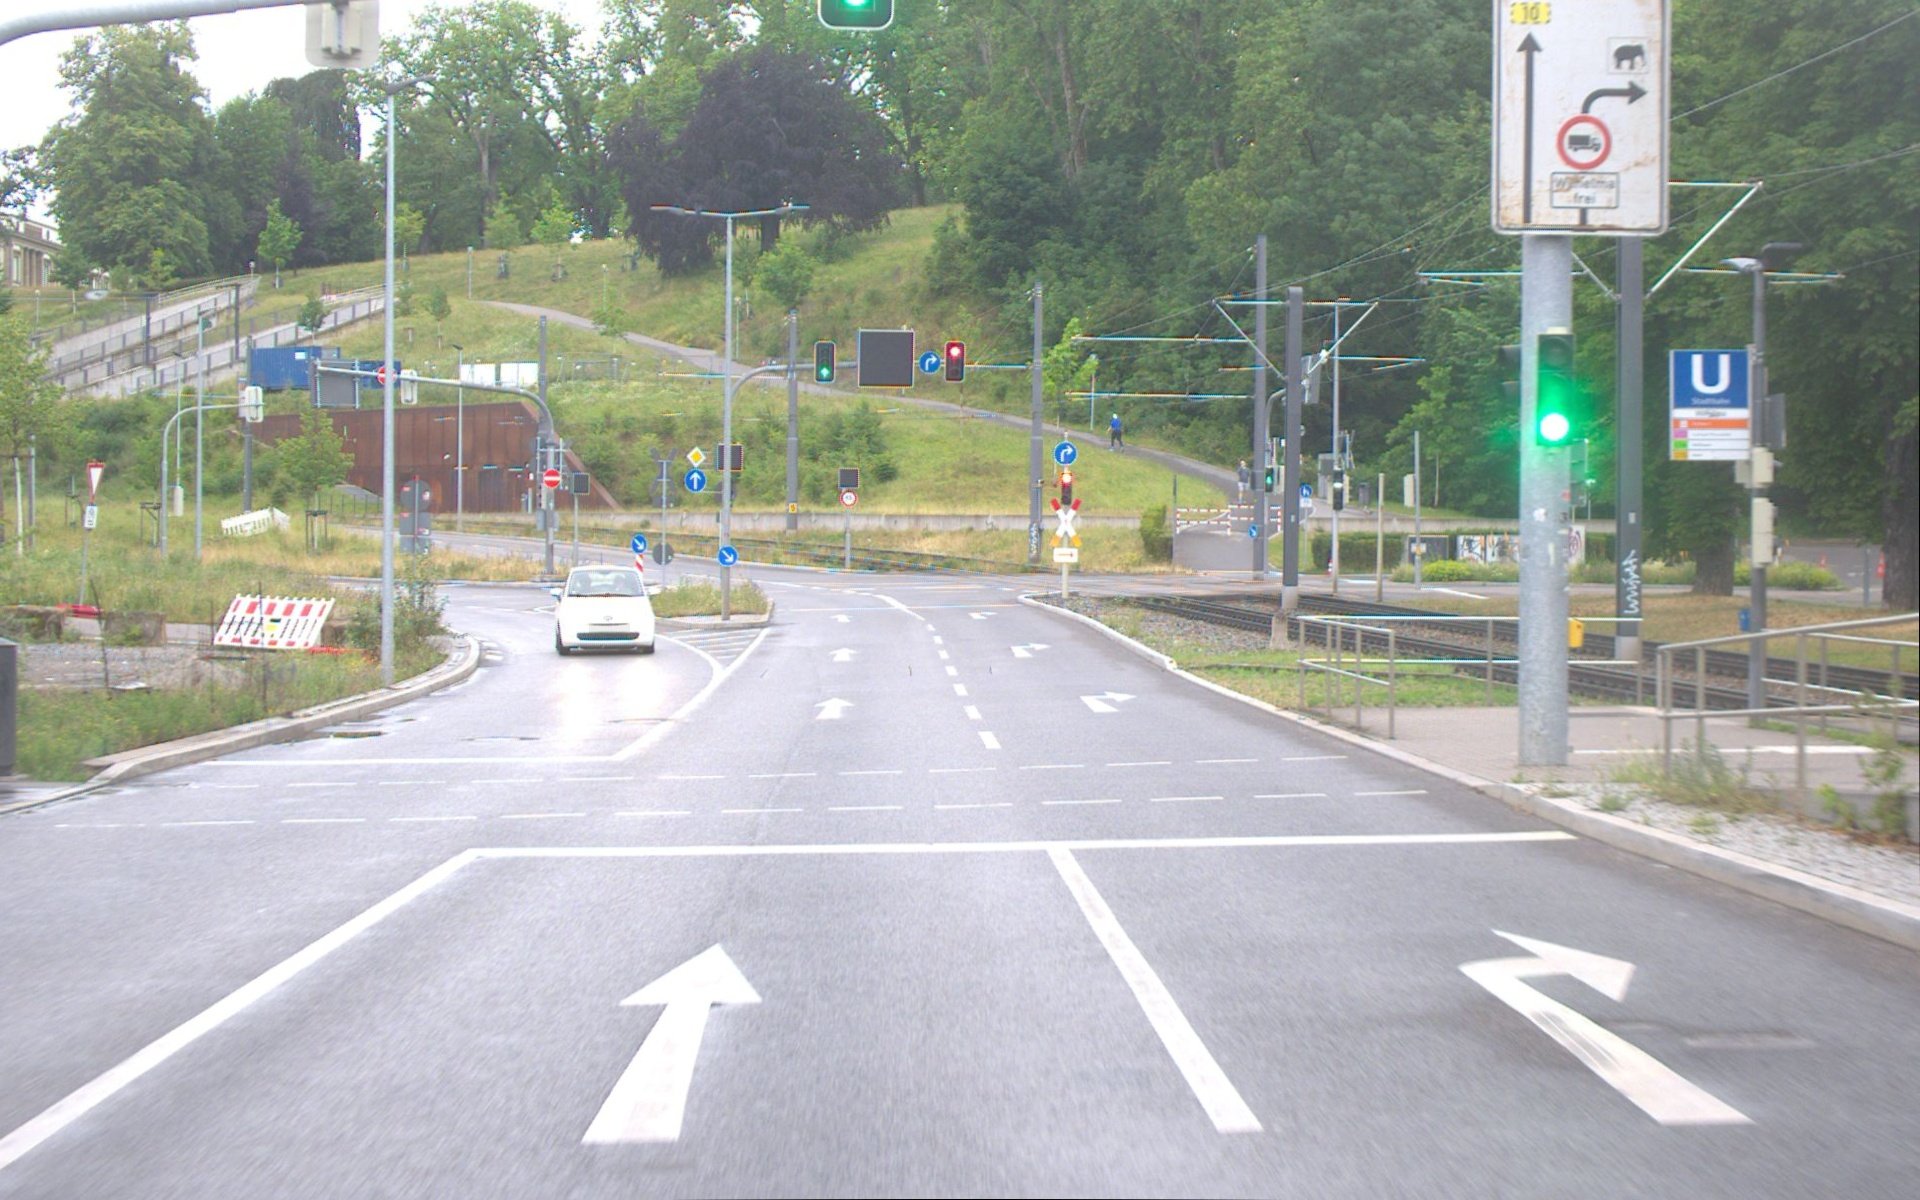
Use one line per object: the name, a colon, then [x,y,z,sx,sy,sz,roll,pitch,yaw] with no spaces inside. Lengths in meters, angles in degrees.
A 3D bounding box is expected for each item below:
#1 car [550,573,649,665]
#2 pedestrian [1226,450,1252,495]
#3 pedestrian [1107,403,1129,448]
car: [-6.212,0.298,59.015,1.587,1.486,3.715,-1,1,-7]
pedestrian: [11.385,-5.189,140.203,0.958,1.775,1.122,2,2,4]
pedestrian: [7.383,-8.163,160.509,0.788,2.006,0.657,-4,7,-16]
